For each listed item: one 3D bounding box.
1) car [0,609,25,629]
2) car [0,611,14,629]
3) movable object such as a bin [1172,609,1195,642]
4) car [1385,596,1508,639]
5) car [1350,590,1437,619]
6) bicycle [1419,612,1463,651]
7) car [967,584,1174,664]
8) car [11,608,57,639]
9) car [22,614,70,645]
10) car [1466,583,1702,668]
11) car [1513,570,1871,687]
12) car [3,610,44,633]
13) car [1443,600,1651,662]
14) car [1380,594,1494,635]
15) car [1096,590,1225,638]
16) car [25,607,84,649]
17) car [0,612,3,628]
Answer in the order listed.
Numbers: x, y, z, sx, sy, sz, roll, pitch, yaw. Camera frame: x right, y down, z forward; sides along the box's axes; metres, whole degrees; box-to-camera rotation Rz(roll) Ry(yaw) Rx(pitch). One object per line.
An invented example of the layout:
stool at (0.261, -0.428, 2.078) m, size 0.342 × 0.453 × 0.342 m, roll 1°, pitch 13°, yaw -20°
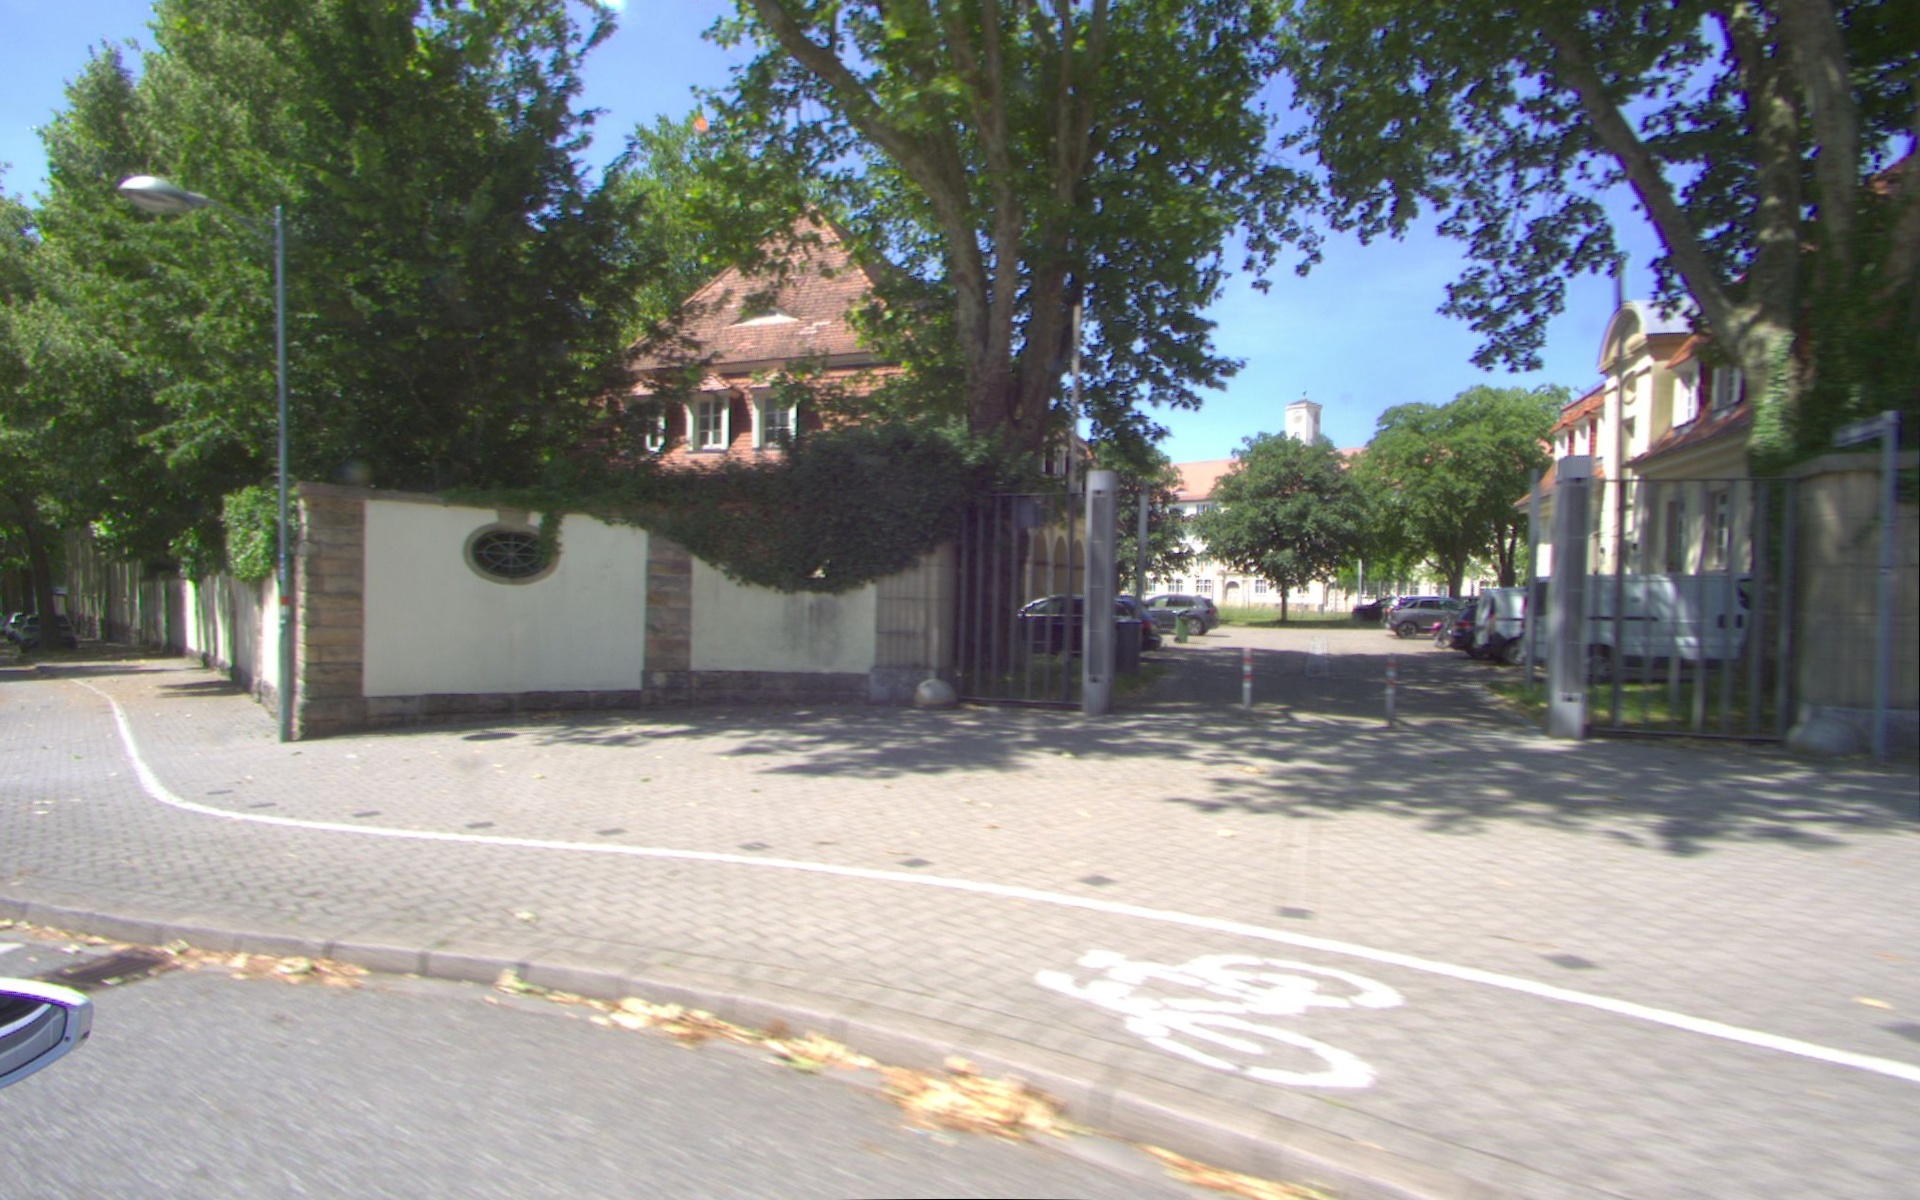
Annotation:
car at (-72.984, 1.455, 76.844) m, size 3.834 × 1.485 × 1.568 m, roll 0°, pitch 1°, yaw 44°
car at (-82.082, 1.681, 85.466) m, size 3.834 × 1.485 × 1.756 m, roll 0°, pitch 1°, yaw 44°
movable object such as a bin at (7.039, 0.809, 31.562) m, size 0.528 × 1.022 × 0.527 m, roll -1°, pitch 1°, yaw -10°
car at (18.369, 0.647, 38.033) m, size 4.021 × 1.566 × 1.807 m, roll -1°, pitch 0°, yaw 20°
car at (23.679, 0.250, 54.700) m, size 4.044 × 1.566 × 1.797 m, roll -1°, pitch 0°, yaw 40°
bicycle at (14.919, 0.946, 31.122) m, size 0.691 × 1.148 × 1.988 m, roll -1°, pitch 0°, yaw 9°
car at (2.613, 0.505, 23.570) m, size 4.423 × 1.422 × 1.995 m, roll 5°, pitch 2°, yaw 21°
car at (-55.240, 1.368, 59.705) m, size 1.796 × 1.712 × 4.703 m, roll -2°, pitch 2°, yaw -45°
car at (-46.919, 1.461, 51.376) m, size 1.610 × 1.459 × 4.387 m, roll -2°, pitch 1°, yaw -45°
car at (14.244, 0.572, 23.116) m, size 4.252 × 1.835 × 1.839 m, roll -1°, pitch 0°, yaw 15°
car at (12.852, 0.489, 17.958) m, size 4.775 × 1.911 × 1.974 m, roll -1°, pitch 0°, yaw 15°
car at (-62.597, 1.422, 66.918) m, size 3.834 × 1.453 × 1.756 m, roll 0°, pitch 1°, yaw 44°
car at (14.881, 0.776, 25.653) m, size 4.253 × 1.504 × 1.809 m, roll -1°, pitch 0°, yaw 16°
car at (19.346, 0.588, 40.797) m, size 4.021 × 1.633 × 1.807 m, roll -1°, pitch 0°, yaw 20°
car at (7.558, 0.487, 37.802) m, size 4.423 × 1.422 × 1.995 m, roll 5°, pitch 2°, yaw 21°
car at (-39.021, 1.160, 43.098) m, size 1.729 × 1.578 × 4.732 m, roll -3°, pitch 2°, yaw -43°
car at (-88.636, 1.835, 91.190) m, size 3.686 × 1.393 × 1.758 m, roll 0°, pitch 1°, yaw 40°
